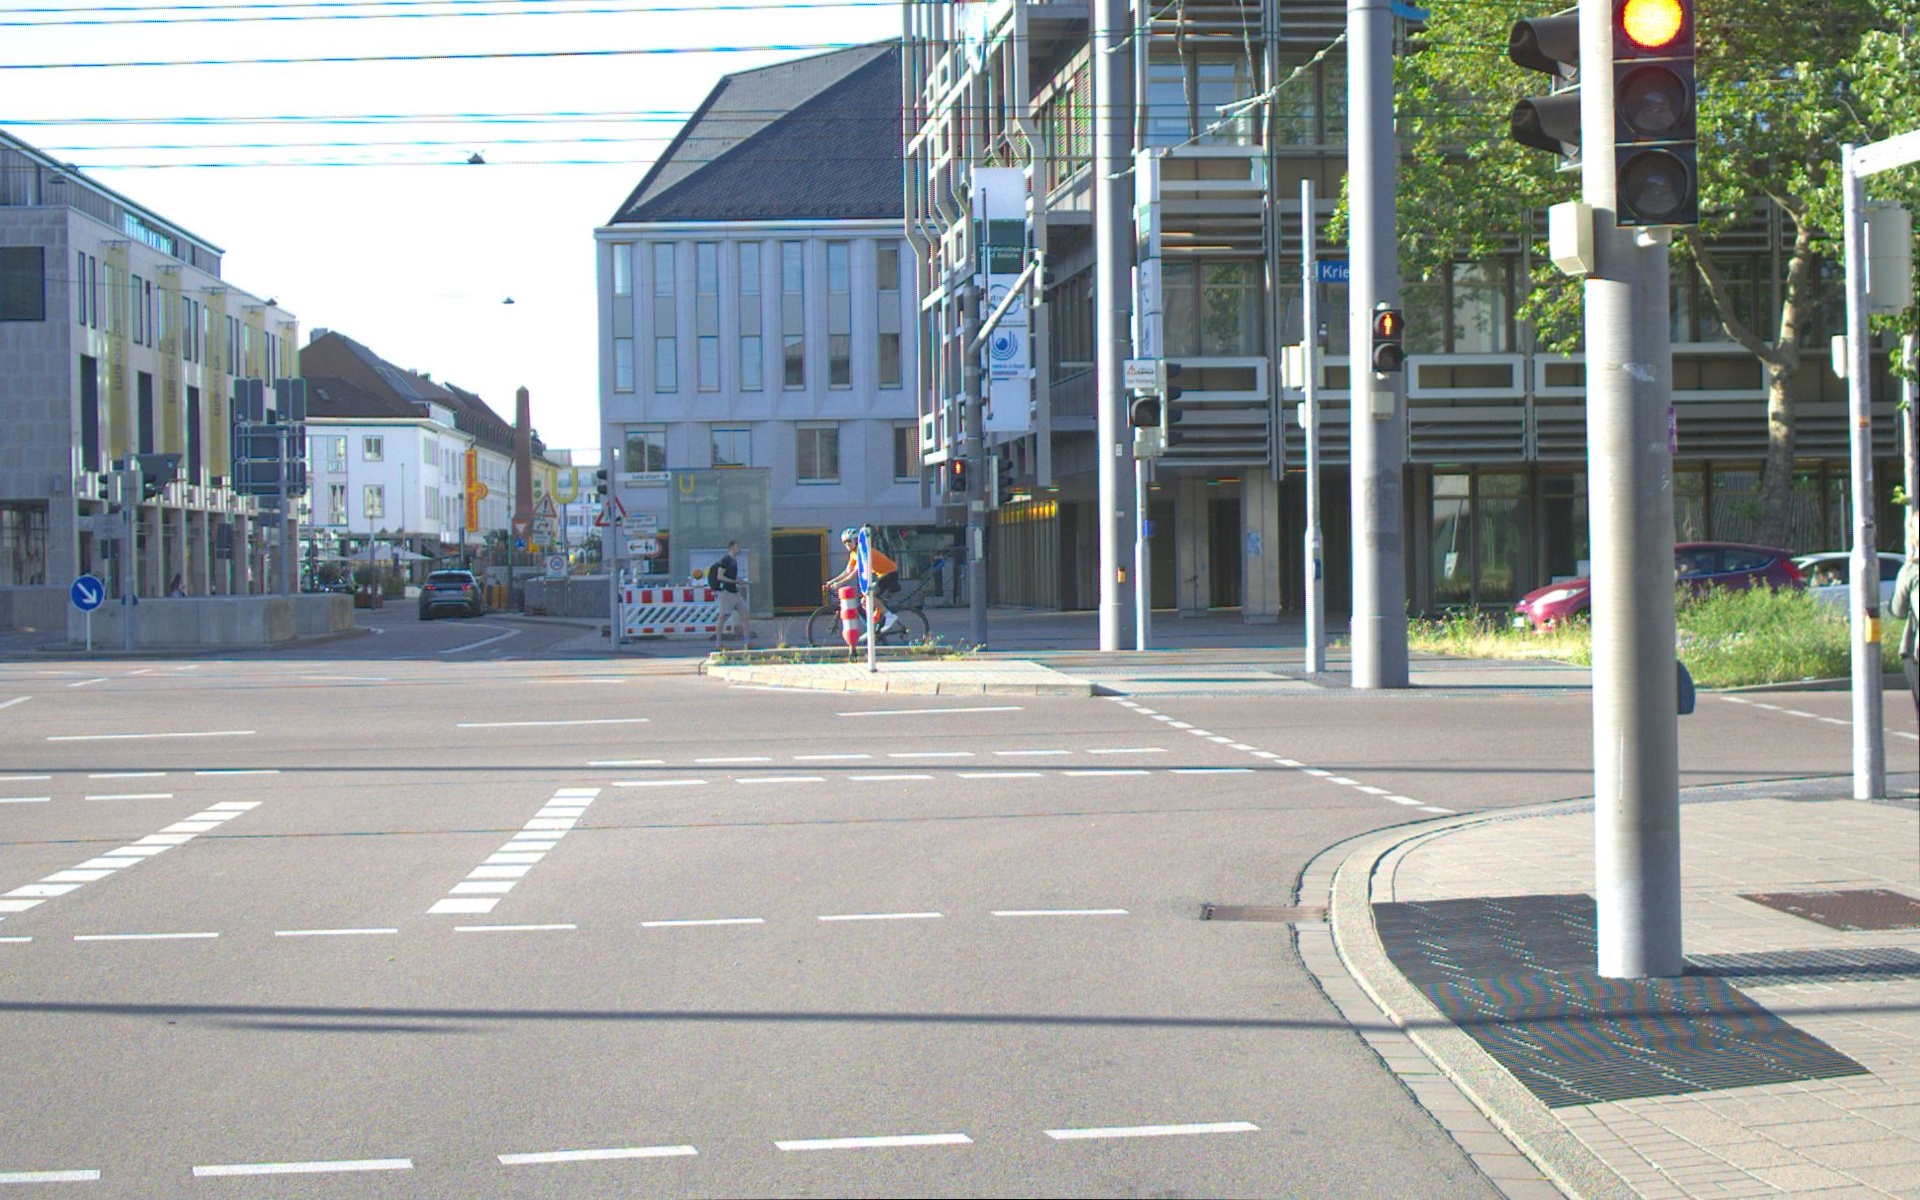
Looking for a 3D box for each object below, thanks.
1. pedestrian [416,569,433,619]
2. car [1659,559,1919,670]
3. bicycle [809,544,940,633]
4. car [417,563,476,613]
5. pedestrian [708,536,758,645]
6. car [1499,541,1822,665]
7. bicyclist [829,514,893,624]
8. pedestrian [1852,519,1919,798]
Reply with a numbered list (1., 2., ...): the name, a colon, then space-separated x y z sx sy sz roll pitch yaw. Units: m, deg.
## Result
1. pedestrian: -18.248 -0.208 117.183 0.521 1.674 0.583 1 1 -7
2. car: 12.604 0.208 51.333 3.897 1.579 1.660 1 0 -7
3. bicycle: -1.125 -0.146 45.354 1.644 1.150 0.497 1 0 -17
4. car: -16.142 -0.384 108.209 1.737 1.525 3.856 1 1 -7
5. pedestrian: -3.972 -0.170 60.161 0.642 1.883 0.790 1 0 14
6. car: 9.341 0.028 45.966 3.884 1.579 1.660 -1 1 -7
7. bicyclist: -1.303 -0.404 45.296 0.711 1.432 0.497 1 0 -17
8. pedestrian: 5.341 0.315 18.679 0.788 1.487 0.644 1 0 -1
